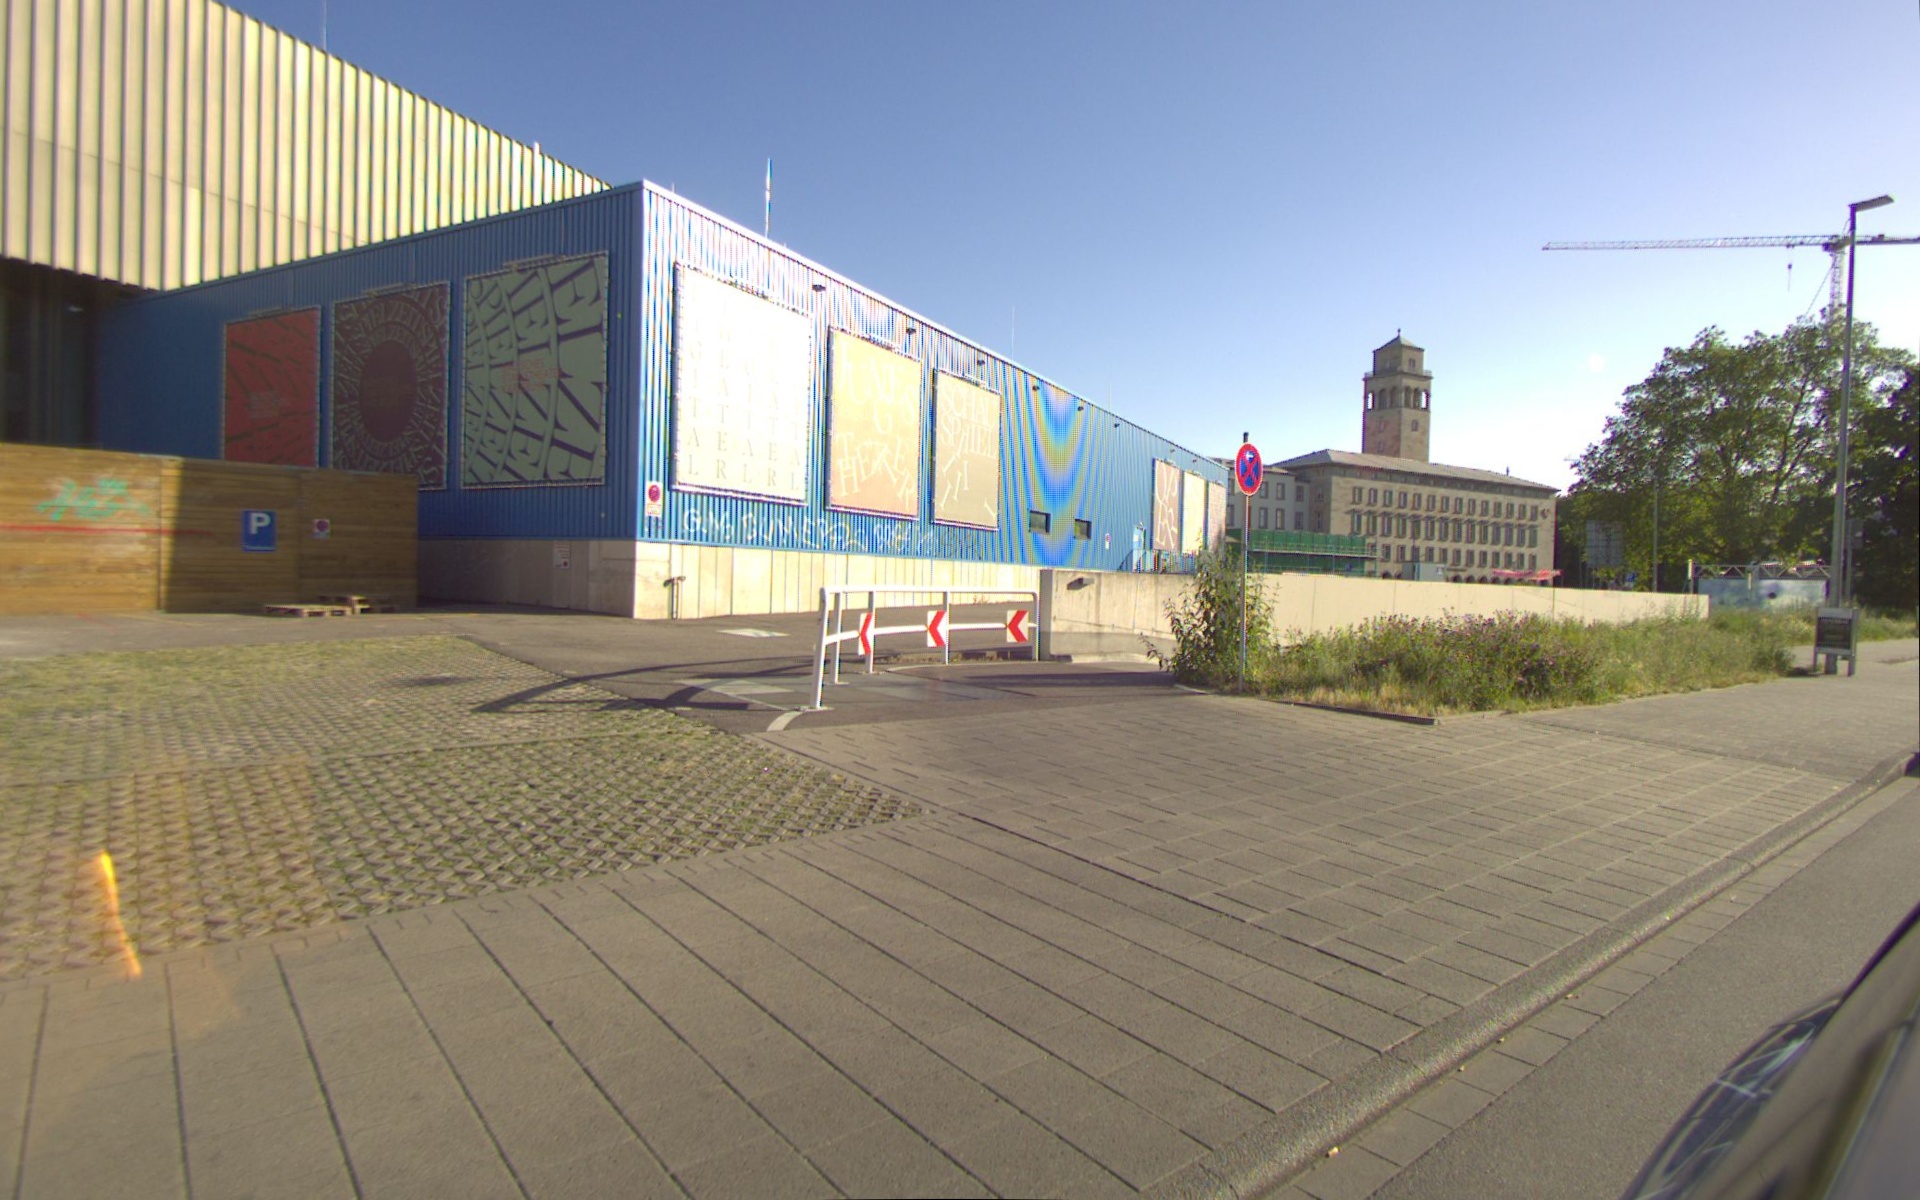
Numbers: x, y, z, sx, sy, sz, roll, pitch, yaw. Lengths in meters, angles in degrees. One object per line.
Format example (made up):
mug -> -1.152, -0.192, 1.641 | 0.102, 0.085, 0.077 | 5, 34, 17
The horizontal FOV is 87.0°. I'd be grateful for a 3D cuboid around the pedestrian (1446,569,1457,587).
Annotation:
pedestrian -> 38.219, -1.713, 78.709 | 0.432, 1.312, 0.574 | -1, 0, -16
